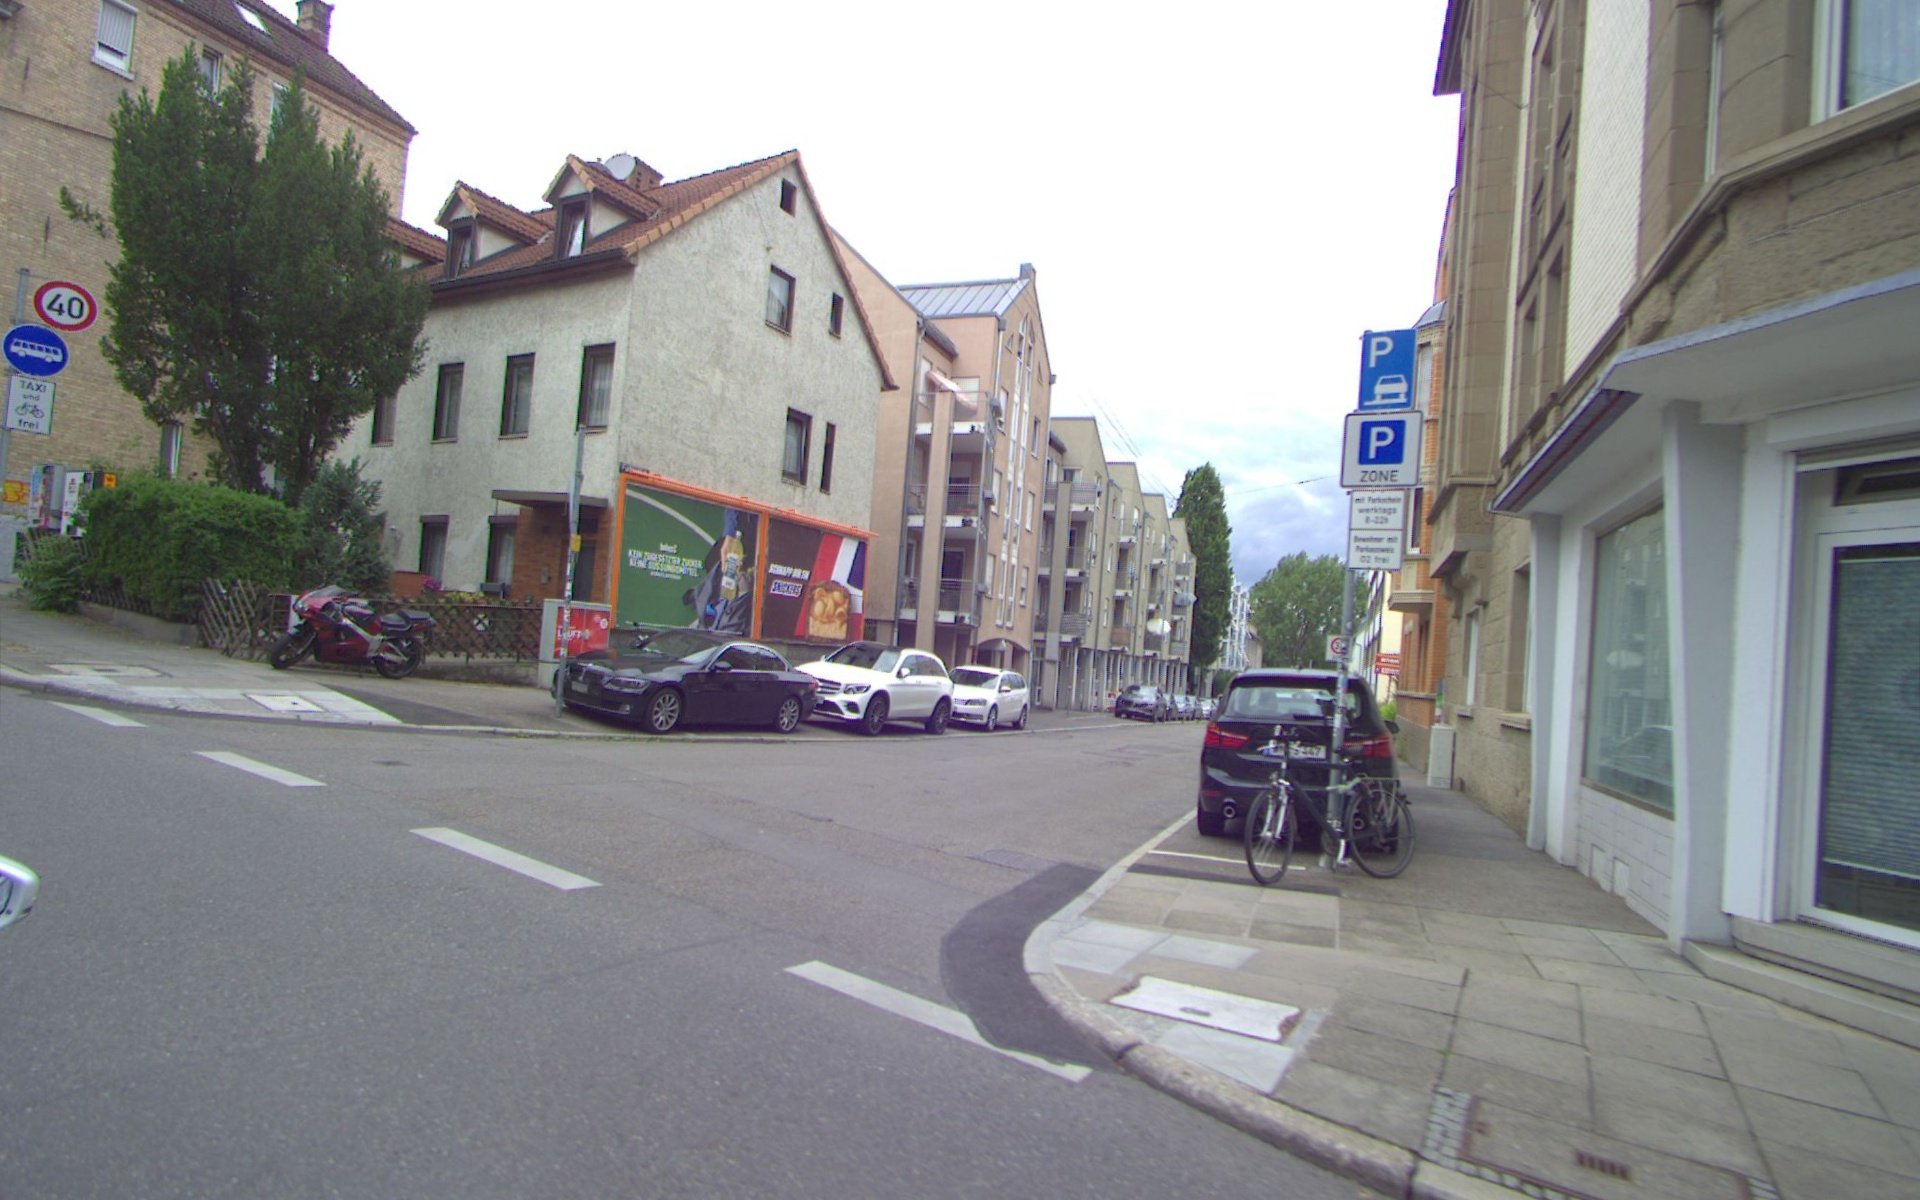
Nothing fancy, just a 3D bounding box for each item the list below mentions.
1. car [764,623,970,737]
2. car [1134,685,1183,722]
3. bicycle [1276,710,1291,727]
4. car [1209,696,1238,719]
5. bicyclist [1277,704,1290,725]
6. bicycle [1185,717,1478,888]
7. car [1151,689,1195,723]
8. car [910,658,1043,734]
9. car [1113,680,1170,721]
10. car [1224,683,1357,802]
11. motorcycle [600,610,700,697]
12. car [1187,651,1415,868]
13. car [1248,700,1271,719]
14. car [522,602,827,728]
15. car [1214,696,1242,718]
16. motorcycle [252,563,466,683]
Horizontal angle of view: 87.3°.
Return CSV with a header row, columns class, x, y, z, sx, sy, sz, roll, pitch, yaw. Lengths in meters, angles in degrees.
class,x,y,z,sx,sy,sz,roll,pitch,yaw
car,-1.633,1.619,19.354,1.841,1.681,4.319,8,-4,25
car,10.143,5.265,51.208,1.772,1.586,3.986,6,-3,19
bicycle,23.467,8.584,72.988,0.695,1.093,2.024,4,-4,27
car,21.023,8.571,80.161,1.772,1.586,3.986,6,-3,19
bicyclist,23.481,8.298,72.994,0.695,1.395,0.973,4,-3,27
bicycle,2.791,1.510,7.568,2.041,1.152,0.641,4,-3,-14
car,11.809,5.842,55.707,1.772,1.586,3.986,6,-3,19
car,0.518,2.392,25.078,1.761,1.469,4.319,8,-2,21
car,8.277,4.550,45.624,1.772,1.586,3.986,6,-3,19
car,5.099,2.088,15.412,1.657,1.478,3.878,2,-5,20
motorcycle,-5.463,0.968,17.805,0.700,1.359,1.459,7,-3,30
car,3.538,1.505,10.502,1.754,1.663,4.383,2,-5,19
car,29.455,10.760,98.851,1.808,1.586,3.986,6,-3,19
car,-3.947,1.017,14.662,1.752,1.300,4.136,10,-1,28
car,22.503,8.991,84.379,1.772,1.586,3.986,6,-3,19
motorcycle,-7.770,0.338,13.133,0.992,1.282,2.063,7,-3,26
